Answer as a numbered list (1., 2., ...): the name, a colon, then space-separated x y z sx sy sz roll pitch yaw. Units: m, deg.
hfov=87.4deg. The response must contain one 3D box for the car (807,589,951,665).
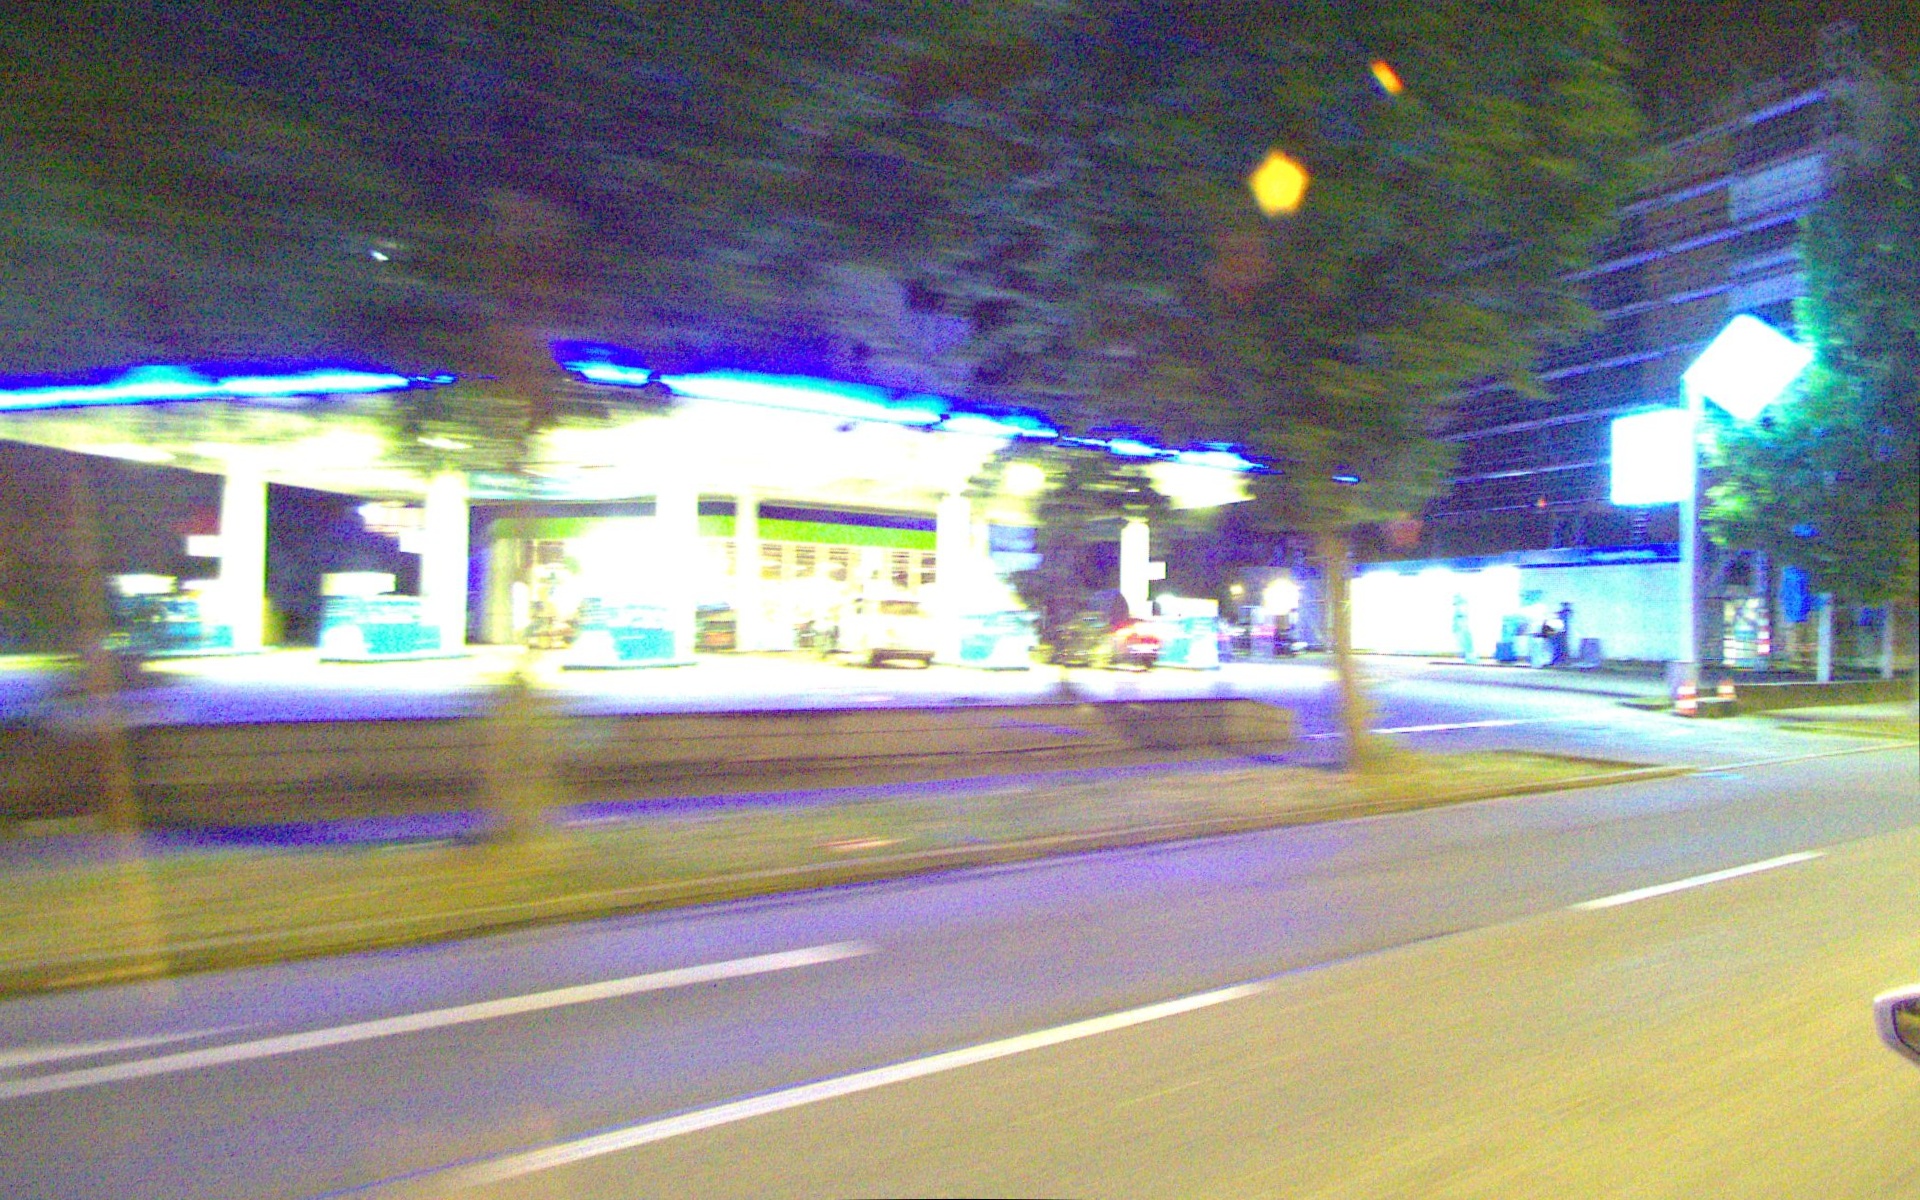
1. car: -2.149 0.625 25.484 1.956 1.750 4.324 2 0 -30

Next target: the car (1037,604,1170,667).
1. car: 3.853 0.930 27.532 1.651 1.553 3.731 2 0 -30

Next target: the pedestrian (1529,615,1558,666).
1. pedestrian: 18.990 1.303 32.697 0.636 1.627 0.572 2 -1 -32

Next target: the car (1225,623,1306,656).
1. car: 13.260 1.698 43.715 1.556 1.282 3.132 1 -1 -30
